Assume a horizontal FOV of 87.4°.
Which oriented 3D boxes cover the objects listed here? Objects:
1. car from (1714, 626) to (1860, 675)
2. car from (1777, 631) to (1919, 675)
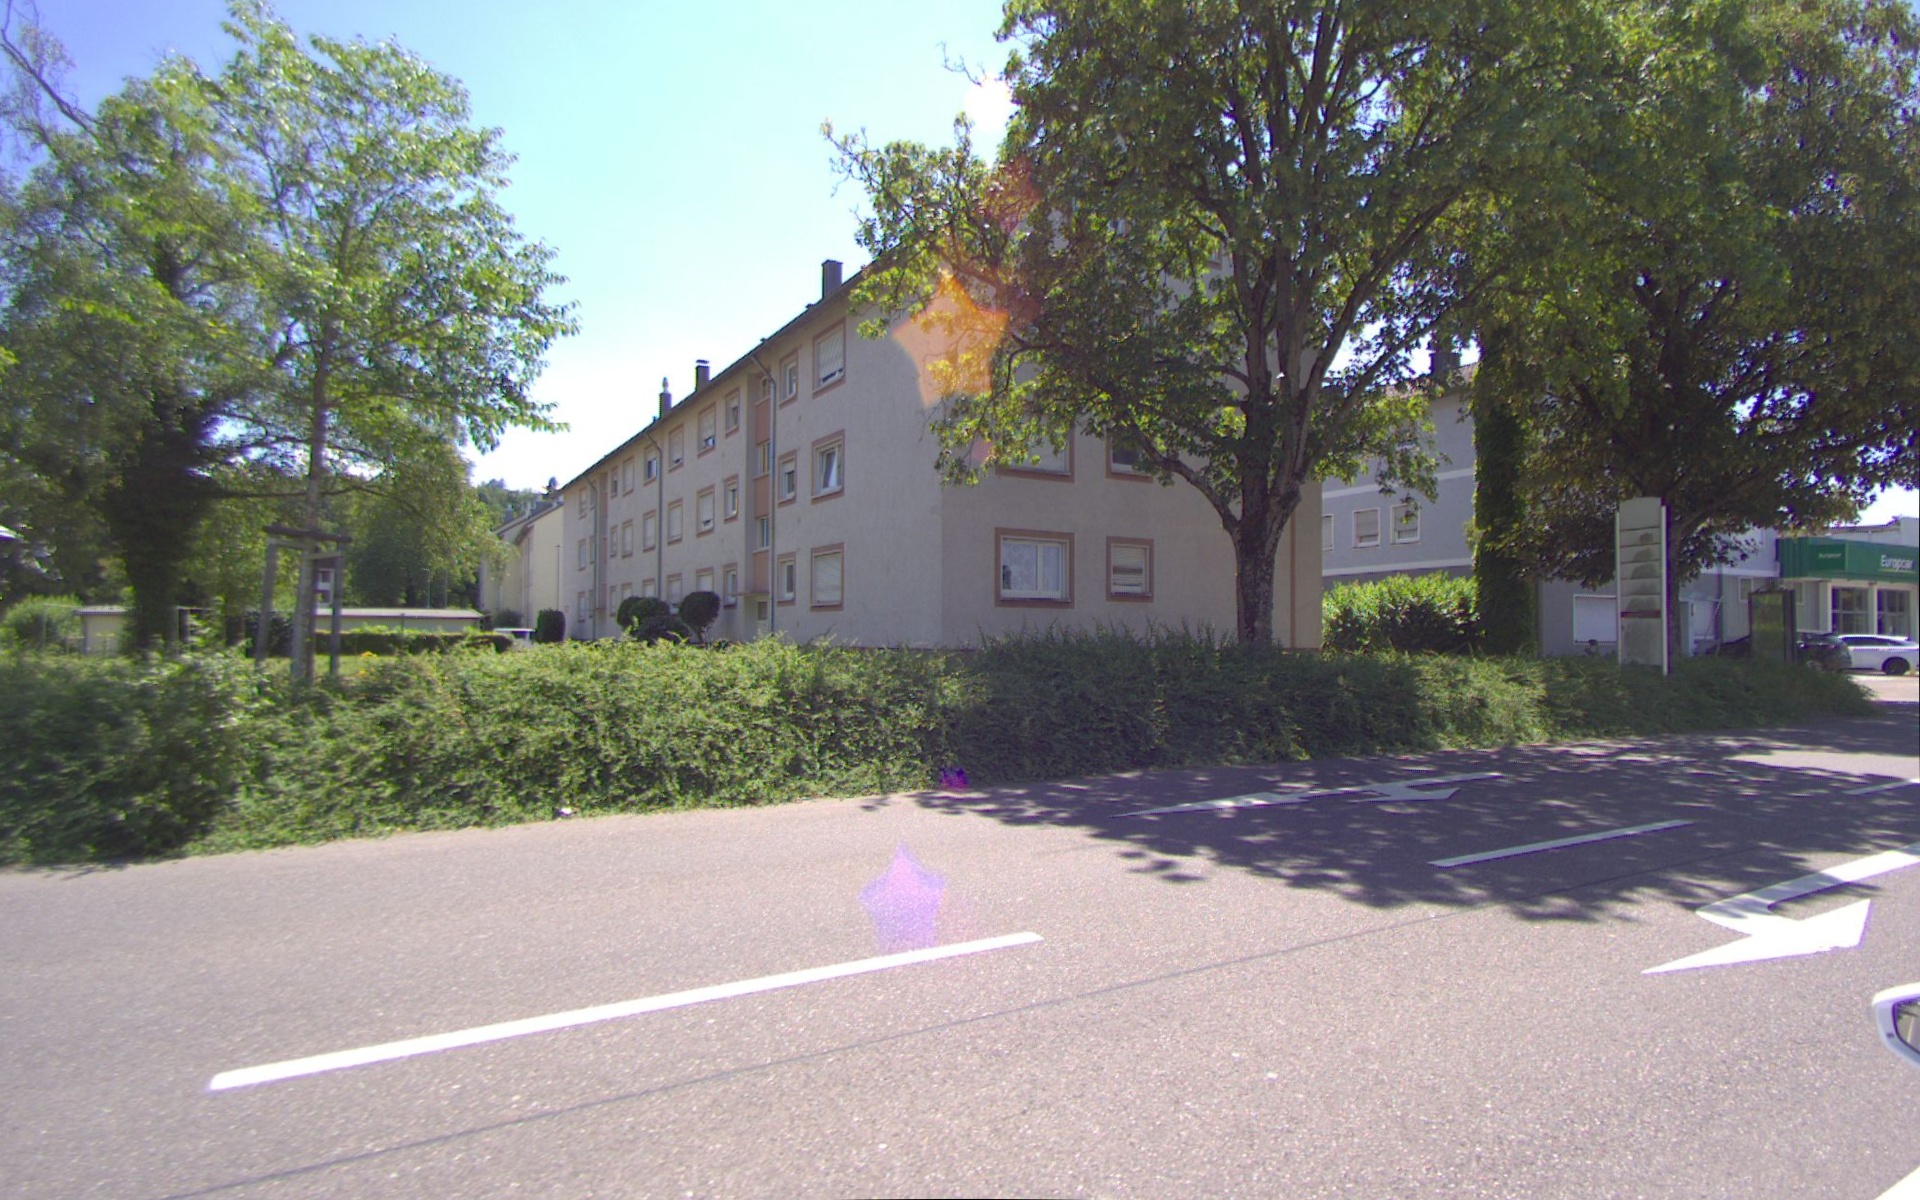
[{"bbox_3d":[29.083,1.743,35.415,1.945,1.585,3.545,1,-2,-29],"label":"car"},{"bbox_3d":[32.691,1.902,36.770,4.288,1.458,1.931,0,-2,39],"label":"car"}]
